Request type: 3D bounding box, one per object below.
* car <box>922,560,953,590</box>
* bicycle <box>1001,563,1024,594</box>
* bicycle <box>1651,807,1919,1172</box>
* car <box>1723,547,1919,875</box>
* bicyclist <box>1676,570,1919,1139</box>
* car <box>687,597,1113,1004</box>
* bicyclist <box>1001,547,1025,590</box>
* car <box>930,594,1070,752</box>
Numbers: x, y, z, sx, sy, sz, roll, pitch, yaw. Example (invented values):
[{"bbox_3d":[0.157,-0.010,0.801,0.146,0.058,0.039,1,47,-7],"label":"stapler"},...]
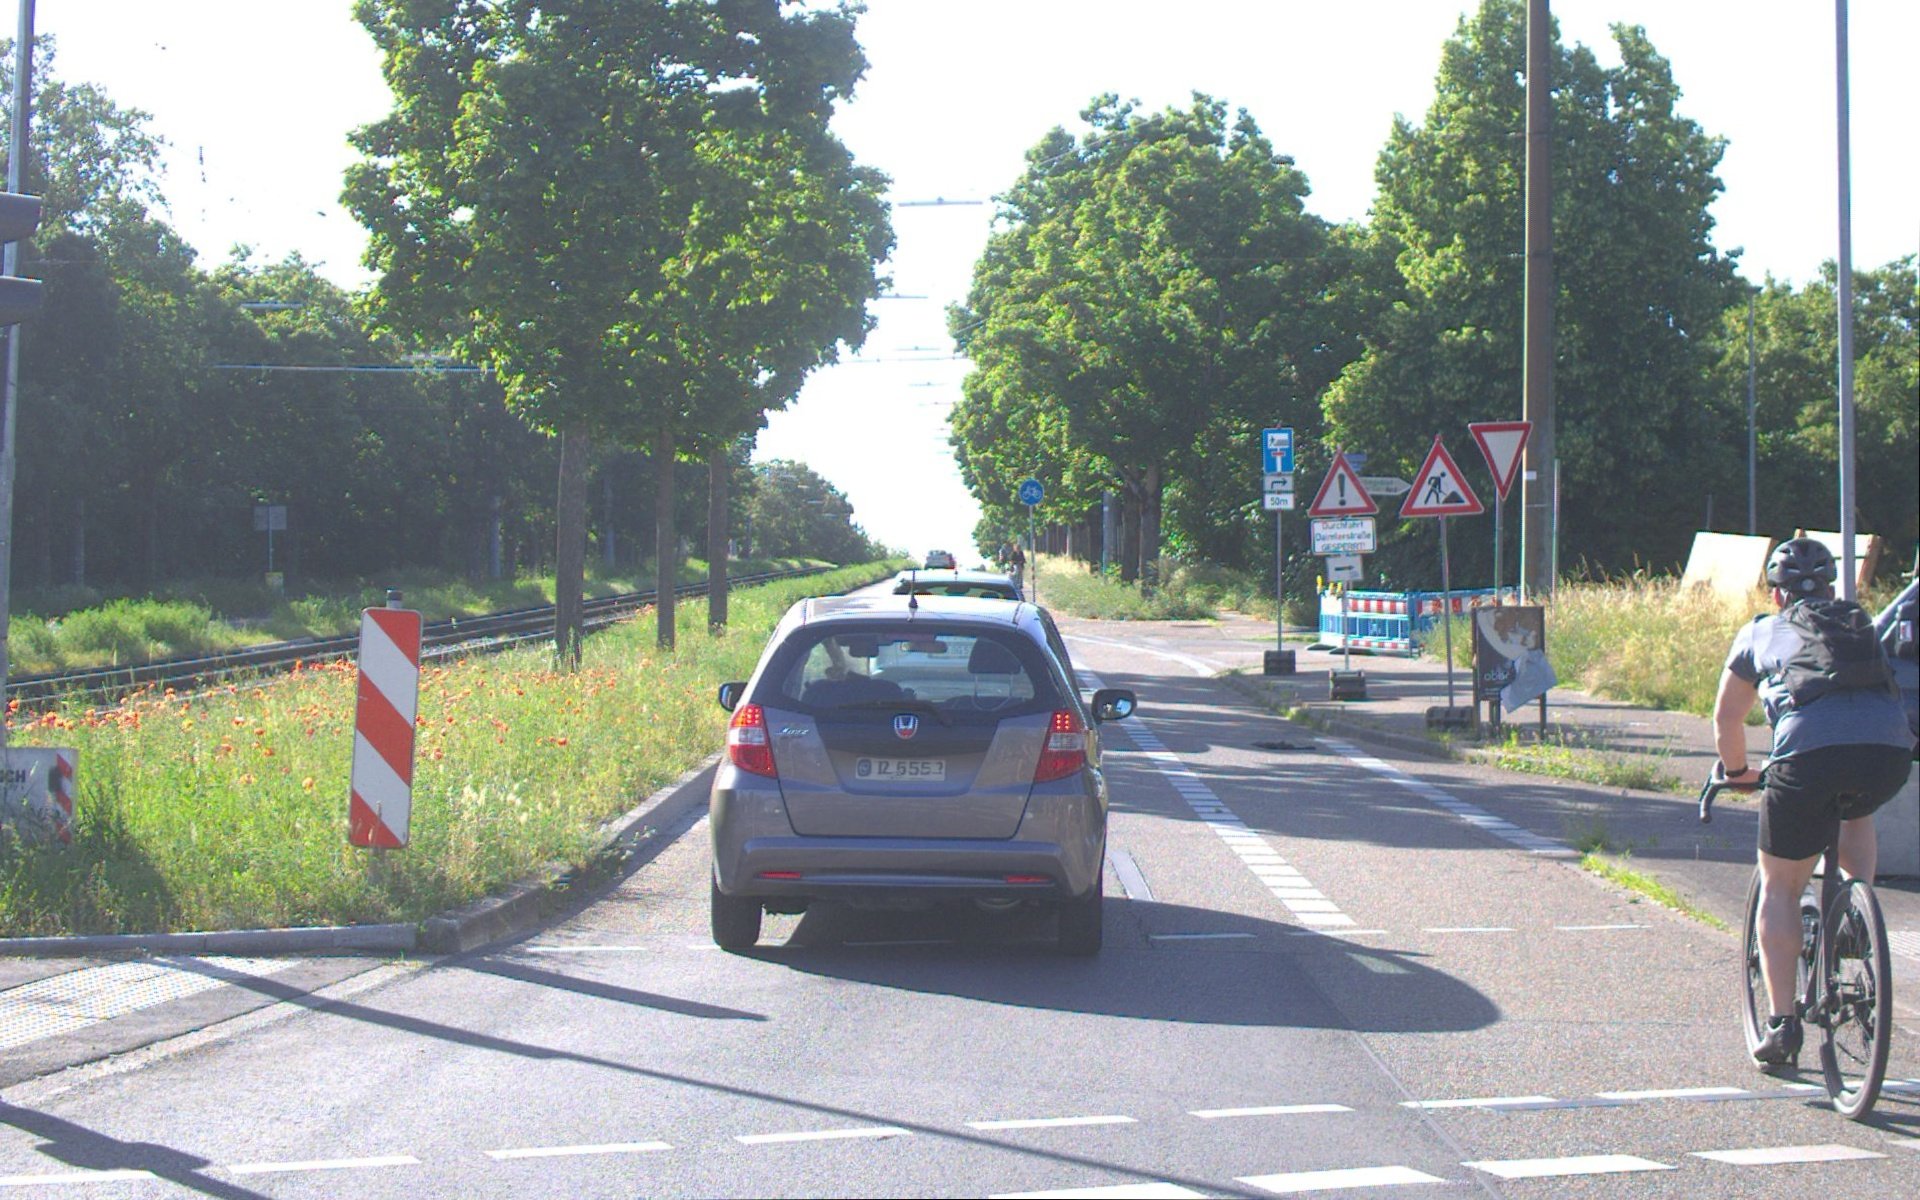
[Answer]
[{"bbox_3d":[-1.530,-1.726,238.108,1.993,2.007,4.000,-1,0,1],"label":"car"},{"bbox_3d":[1.923,-0.788,125.490,0.818,1.044,2.506,1,-1,2],"label":"bicycle"},{"bbox_3d":[2.592,1.165,10.776,0.524,0.920,2.089,0,0,3],"label":"bicycle"},{"bbox_3d":[7.660,0.703,21.751,5.113,2.063,2.126,0,0,36],"label":"car"},{"bbox_3d":[2.605,0.753,10.595,0.615,1.674,0.933,0,-1,2],"label":"bicyclist"},{"bbox_3d":[-0.179,0.805,15.701,1.671,1.510,3.673,2,1,2],"label":"car"},{"bbox_3d":[1.939,-1.141,125.515,0.818,1.519,0.966,1,-1,2],"label":"bicyclist"},{"bbox_3d":[0.428,0.721,35.005,1.351,1.522,3.123,0,0,1],"label":"car"}]
